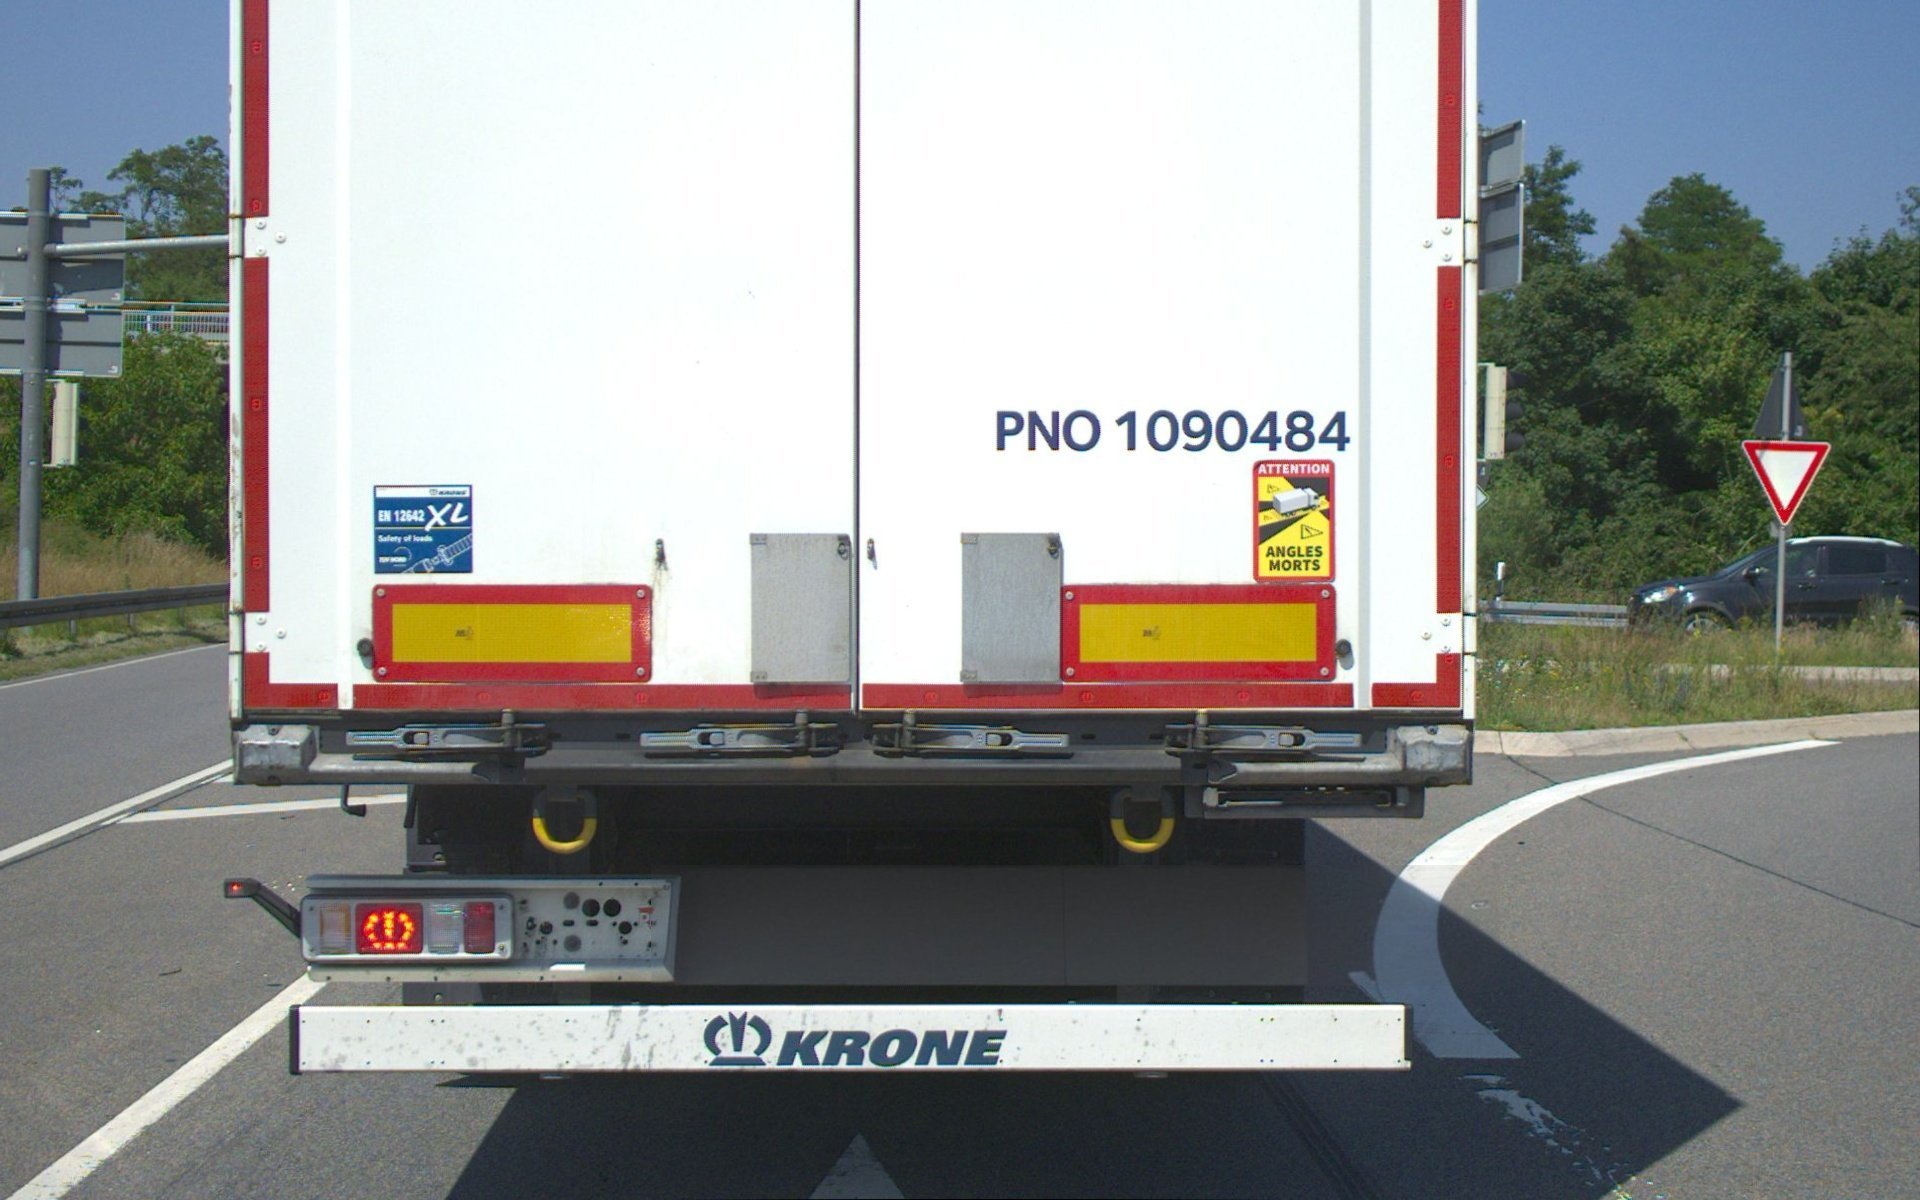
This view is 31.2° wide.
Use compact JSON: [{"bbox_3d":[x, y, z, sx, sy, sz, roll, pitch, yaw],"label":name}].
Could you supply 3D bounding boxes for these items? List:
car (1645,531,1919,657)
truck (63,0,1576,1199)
[{"bbox_3d":[11.331,-0.086,46.161,3.986,1.634,1.841,1,0,5],"label":"car"},{"bbox_3d":[-0.376,-0.657,11.768,2.987,3.928,9.876,1,1,-1],"label":"truck"}]
